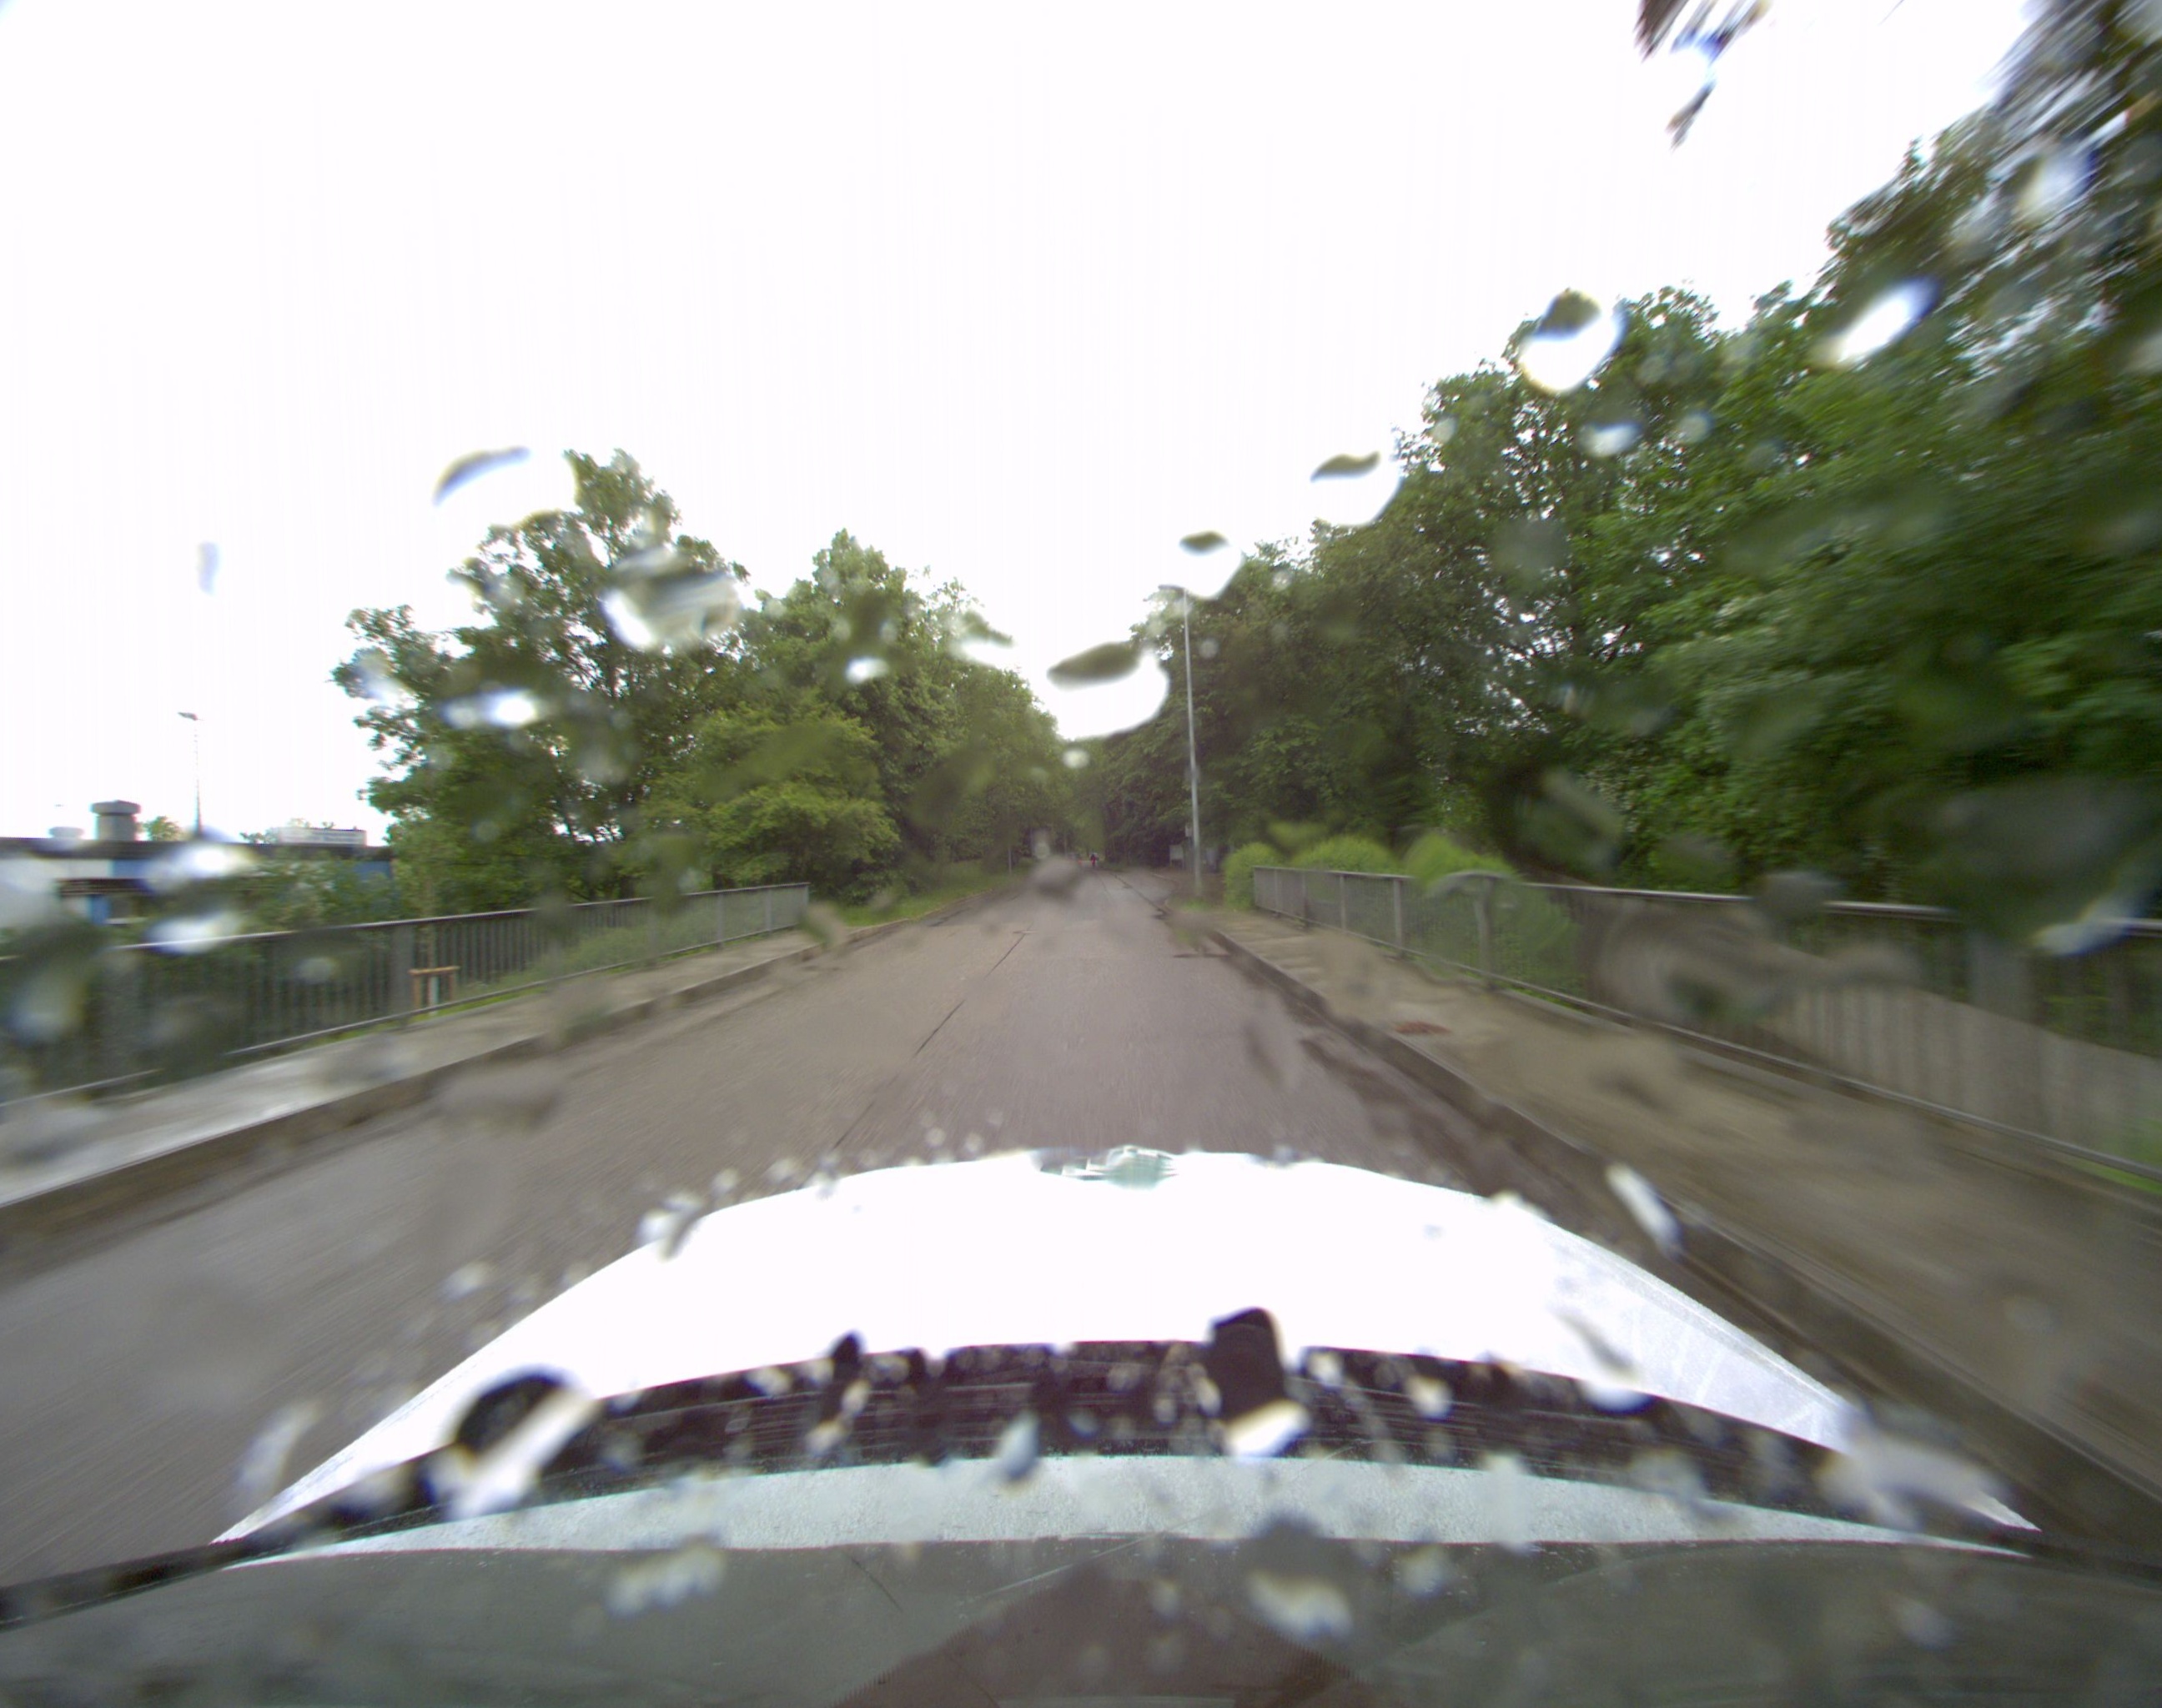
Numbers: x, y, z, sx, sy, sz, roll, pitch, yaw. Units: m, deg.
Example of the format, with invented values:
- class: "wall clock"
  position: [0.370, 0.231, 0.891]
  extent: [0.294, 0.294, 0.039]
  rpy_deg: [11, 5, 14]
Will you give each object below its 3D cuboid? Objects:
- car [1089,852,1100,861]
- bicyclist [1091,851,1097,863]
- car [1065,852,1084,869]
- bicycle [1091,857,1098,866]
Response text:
- class: "car"
  position: [2.625, 0.498, 160.629]
  extent: [1.989, 1.816, 3.995]
  rpy_deg: [-1, 0, -3]
- class: "bicyclist"
  position: [1.581, 0.401, 97.674]
  extent: [0.727, 1.411, 0.974]
  rpy_deg: [-1, 0, 3]
- class: "car"
  position: [-0.764, 0.777, 95.264]
  extent: [1.981, 1.925, 3.996]
  rpy_deg: [-2, 0, -3]
- class: "bicycle"
  position: [1.590, 0.898, 97.749]
  extent: [0.727, 0.974, 2.175]
  rpy_deg: [-1, 0, 3]
